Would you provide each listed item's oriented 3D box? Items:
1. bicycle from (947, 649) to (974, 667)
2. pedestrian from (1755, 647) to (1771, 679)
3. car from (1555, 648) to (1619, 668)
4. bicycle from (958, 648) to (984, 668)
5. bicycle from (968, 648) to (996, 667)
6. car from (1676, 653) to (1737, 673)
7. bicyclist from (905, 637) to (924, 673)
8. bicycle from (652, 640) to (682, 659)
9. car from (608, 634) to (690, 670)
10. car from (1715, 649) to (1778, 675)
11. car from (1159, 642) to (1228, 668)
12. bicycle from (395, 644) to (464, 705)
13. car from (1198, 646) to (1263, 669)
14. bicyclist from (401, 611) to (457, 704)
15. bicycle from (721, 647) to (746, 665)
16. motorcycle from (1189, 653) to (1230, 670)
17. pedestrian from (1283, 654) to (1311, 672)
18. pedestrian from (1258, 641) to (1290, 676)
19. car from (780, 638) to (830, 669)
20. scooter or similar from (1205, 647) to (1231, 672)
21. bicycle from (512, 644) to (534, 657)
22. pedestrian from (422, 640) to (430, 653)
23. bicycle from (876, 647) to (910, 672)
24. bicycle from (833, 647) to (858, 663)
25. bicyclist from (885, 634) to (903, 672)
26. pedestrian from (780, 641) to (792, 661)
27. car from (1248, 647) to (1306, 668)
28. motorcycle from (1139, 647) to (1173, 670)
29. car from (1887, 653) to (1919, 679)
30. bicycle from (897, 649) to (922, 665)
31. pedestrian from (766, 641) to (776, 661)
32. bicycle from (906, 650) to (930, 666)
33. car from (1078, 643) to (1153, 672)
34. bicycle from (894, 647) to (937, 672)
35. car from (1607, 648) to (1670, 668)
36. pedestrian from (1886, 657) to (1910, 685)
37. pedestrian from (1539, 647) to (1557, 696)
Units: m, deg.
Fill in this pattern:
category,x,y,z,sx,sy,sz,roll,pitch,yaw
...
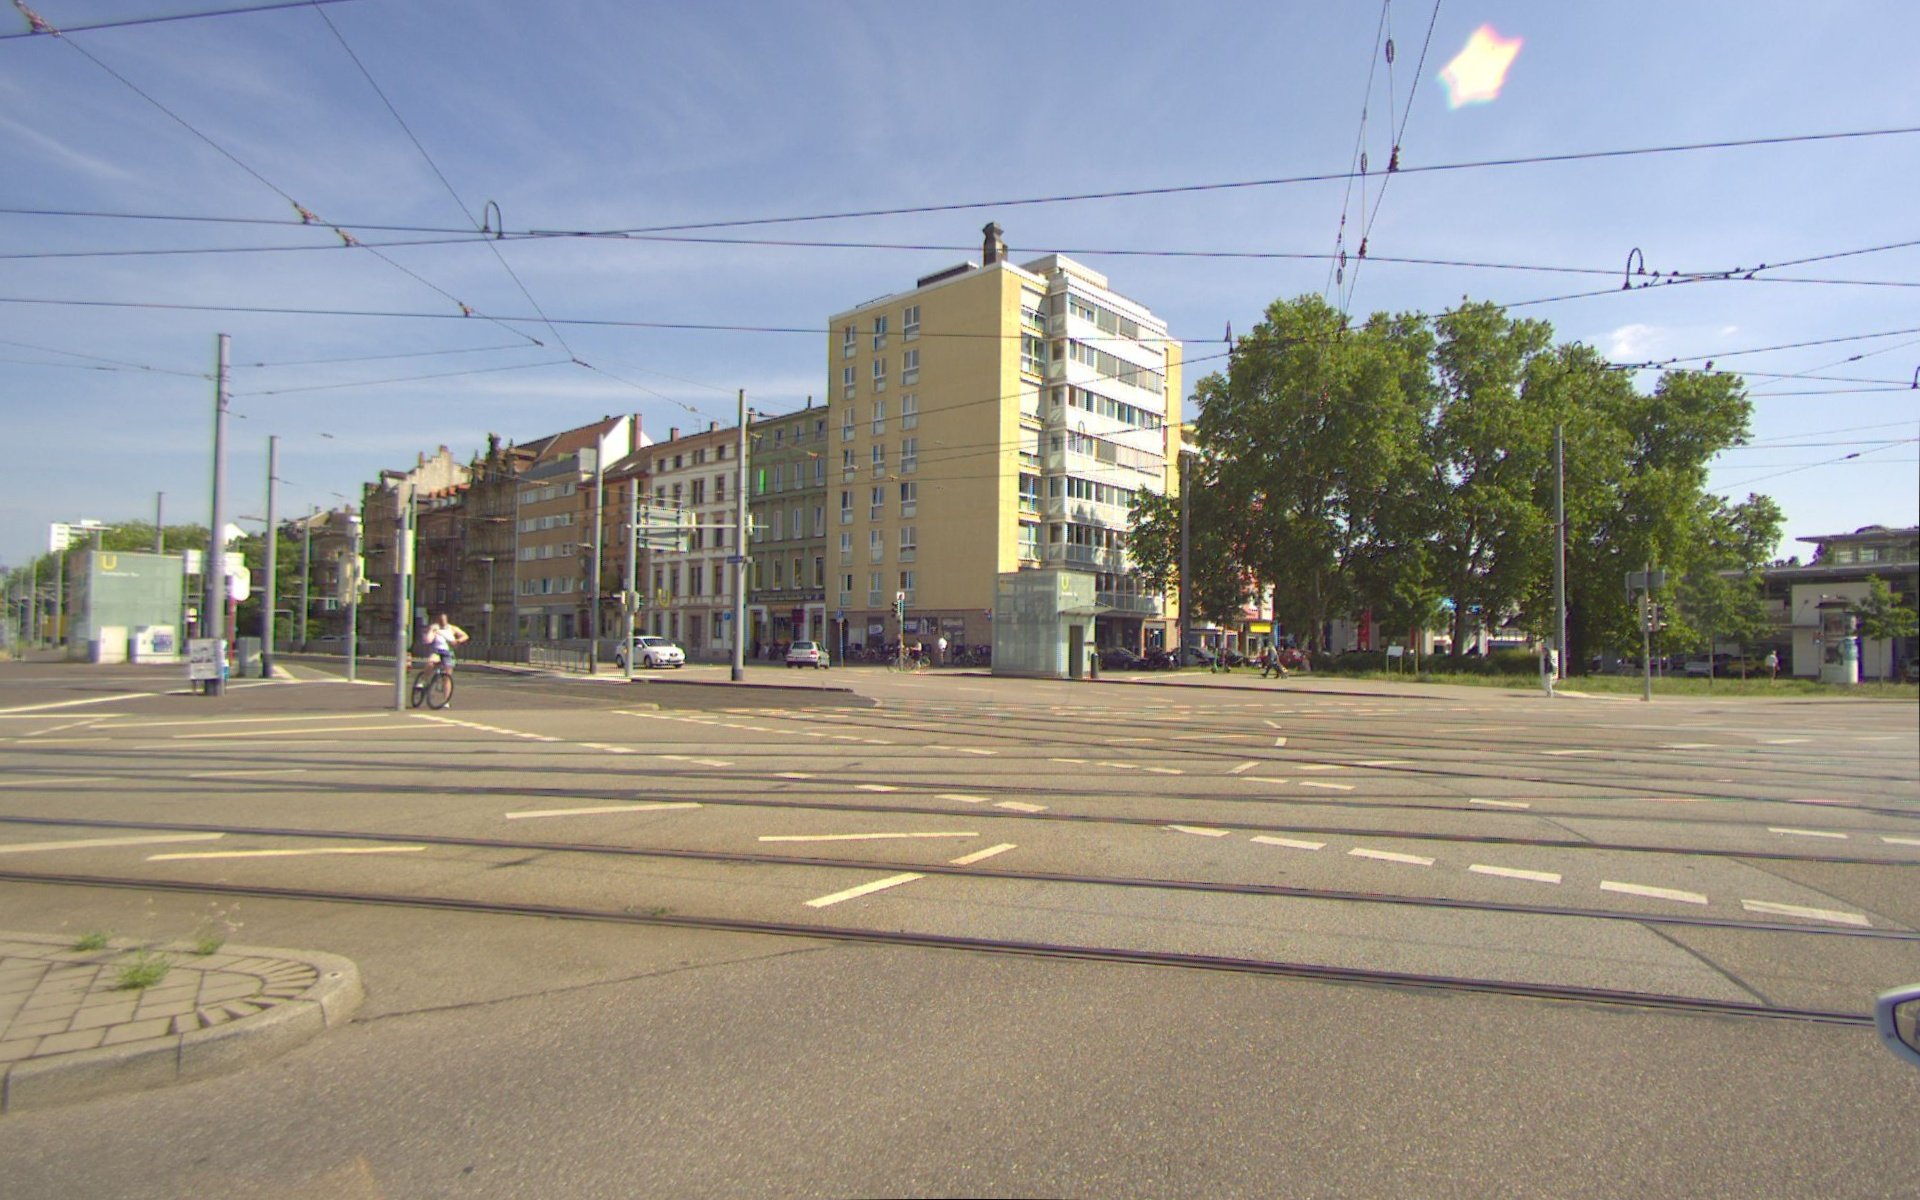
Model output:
category,x,y,z,sx,sy,sz,roll,pitch,yaw
bicycle,0.038,3.345,58.043,0.579,0.978,1.735,2,-3,-41
pedestrian,42.116,3.302,52.666,0.455,1.617,0.393,2,-1,-6
car,51.232,4.727,82.146,1.977,1.389,3.968,3,-1,-30
bicycle,0.610,3.250,56.680,0.578,1.100,1.740,-1,-1,-34
bicycle,1.236,3.269,56.908,0.579,1.056,1.736,2,-3,-40
car,54.820,4.642,73.795,3.947,1.260,1.987,3,-1,-25
bicyclist,-2.065,2.509,45.800,0.606,1.592,0.727,3,-4,-29
bicycle,-18.328,3.103,62.842,0.589,1.109,1.738,0,-3,42
car,-14.070,2.320,45.301,4.067,1.417,1.750,-1,0,43
car,56.306,4.452,71.946,3.947,1.706,1.987,3,-1,-25
car,15.209,3.541,65.447,3.945,1.459,1.880,2,-1,44
bicycle,-10.009,1.403,18.932,0.745,1.097,1.828,3,-5,-40
car,18.440,3.913,68.565,3.945,1.287,1.733,2,-1,44
bicyclist,-10.003,1.088,18.928,0.745,1.706,0.768,3,-5,-41
bicycle,-14.118,3.498,62.631,1.795,1.109,0.580,-3,-1,43
motorcycle,13.083,3.213,52.719,1.997,0.853,0.641,1,-2,4
pedestrian,17.069,3.196,50.896,1.159,0.904,0.818,-1,-3,41
pedestrian,13.348,2.470,42.765,1.100,1.422,0.654,2,-1,39
car,-8.232,2.895,53.730,1.777,1.458,4.004,2,-4,4
scooter or similar,11.890,2.730,46.292,0.509,1.134,1.358,1,-2,-19
bicycle,-32.876,3.812,75.619,0.409,0.989,1.457,2,-1,42
pedestrian,-58.268,5.059,109.609,0.483,1.425,0.532,2,-1,37
bicycle,-3.119,2.791,47.127,0.575,1.145,1.791,-1,-4,36
bicycle,-7.415,3.556,65.106,1.755,0.977,0.581,-2,-1,42
bicyclist,-3.093,2.476,46.963,0.575,1.757,0.615,-1,-4,37
pedestrian,-12.130,3.565,69.921,0.637,1.392,0.524,-1,-3,43
car,23.539,4.250,74.693,3.683,1.358,1.733,2,-1,44
motorcycle,9.570,2.875,49.132,0.631,1.076,2.028,2,-2,-22
car,60.292,4.191,63.116,3.956,1.505,1.983,3,-1,-32
bicycle,-3.051,3.440,60.387,0.579,0.928,1.737,2,-3,-39
pedestrian,-13.310,3.590,70.740,0.522,1.372,0.524,-1,-3,43
bicycle,-2.543,3.467,60.622,0.579,0.928,1.737,2,-3,-39
car,8.909,3.294,57.715,4.037,1.489,1.650,-1,-6,44
bicycle,-2.034,2.723,45.880,1.776,1.145,0.749,3,-4,-30
car,56.675,4.837,83.983,1.978,1.528,3.967,2,-3,-31
pedestrian,56.841,4.302,60.876,0.528,1.601,0.948,3,-1,-33
pedestrian,19.695,2.386,33.659,0.446,1.626,0.400,2,-1,24
